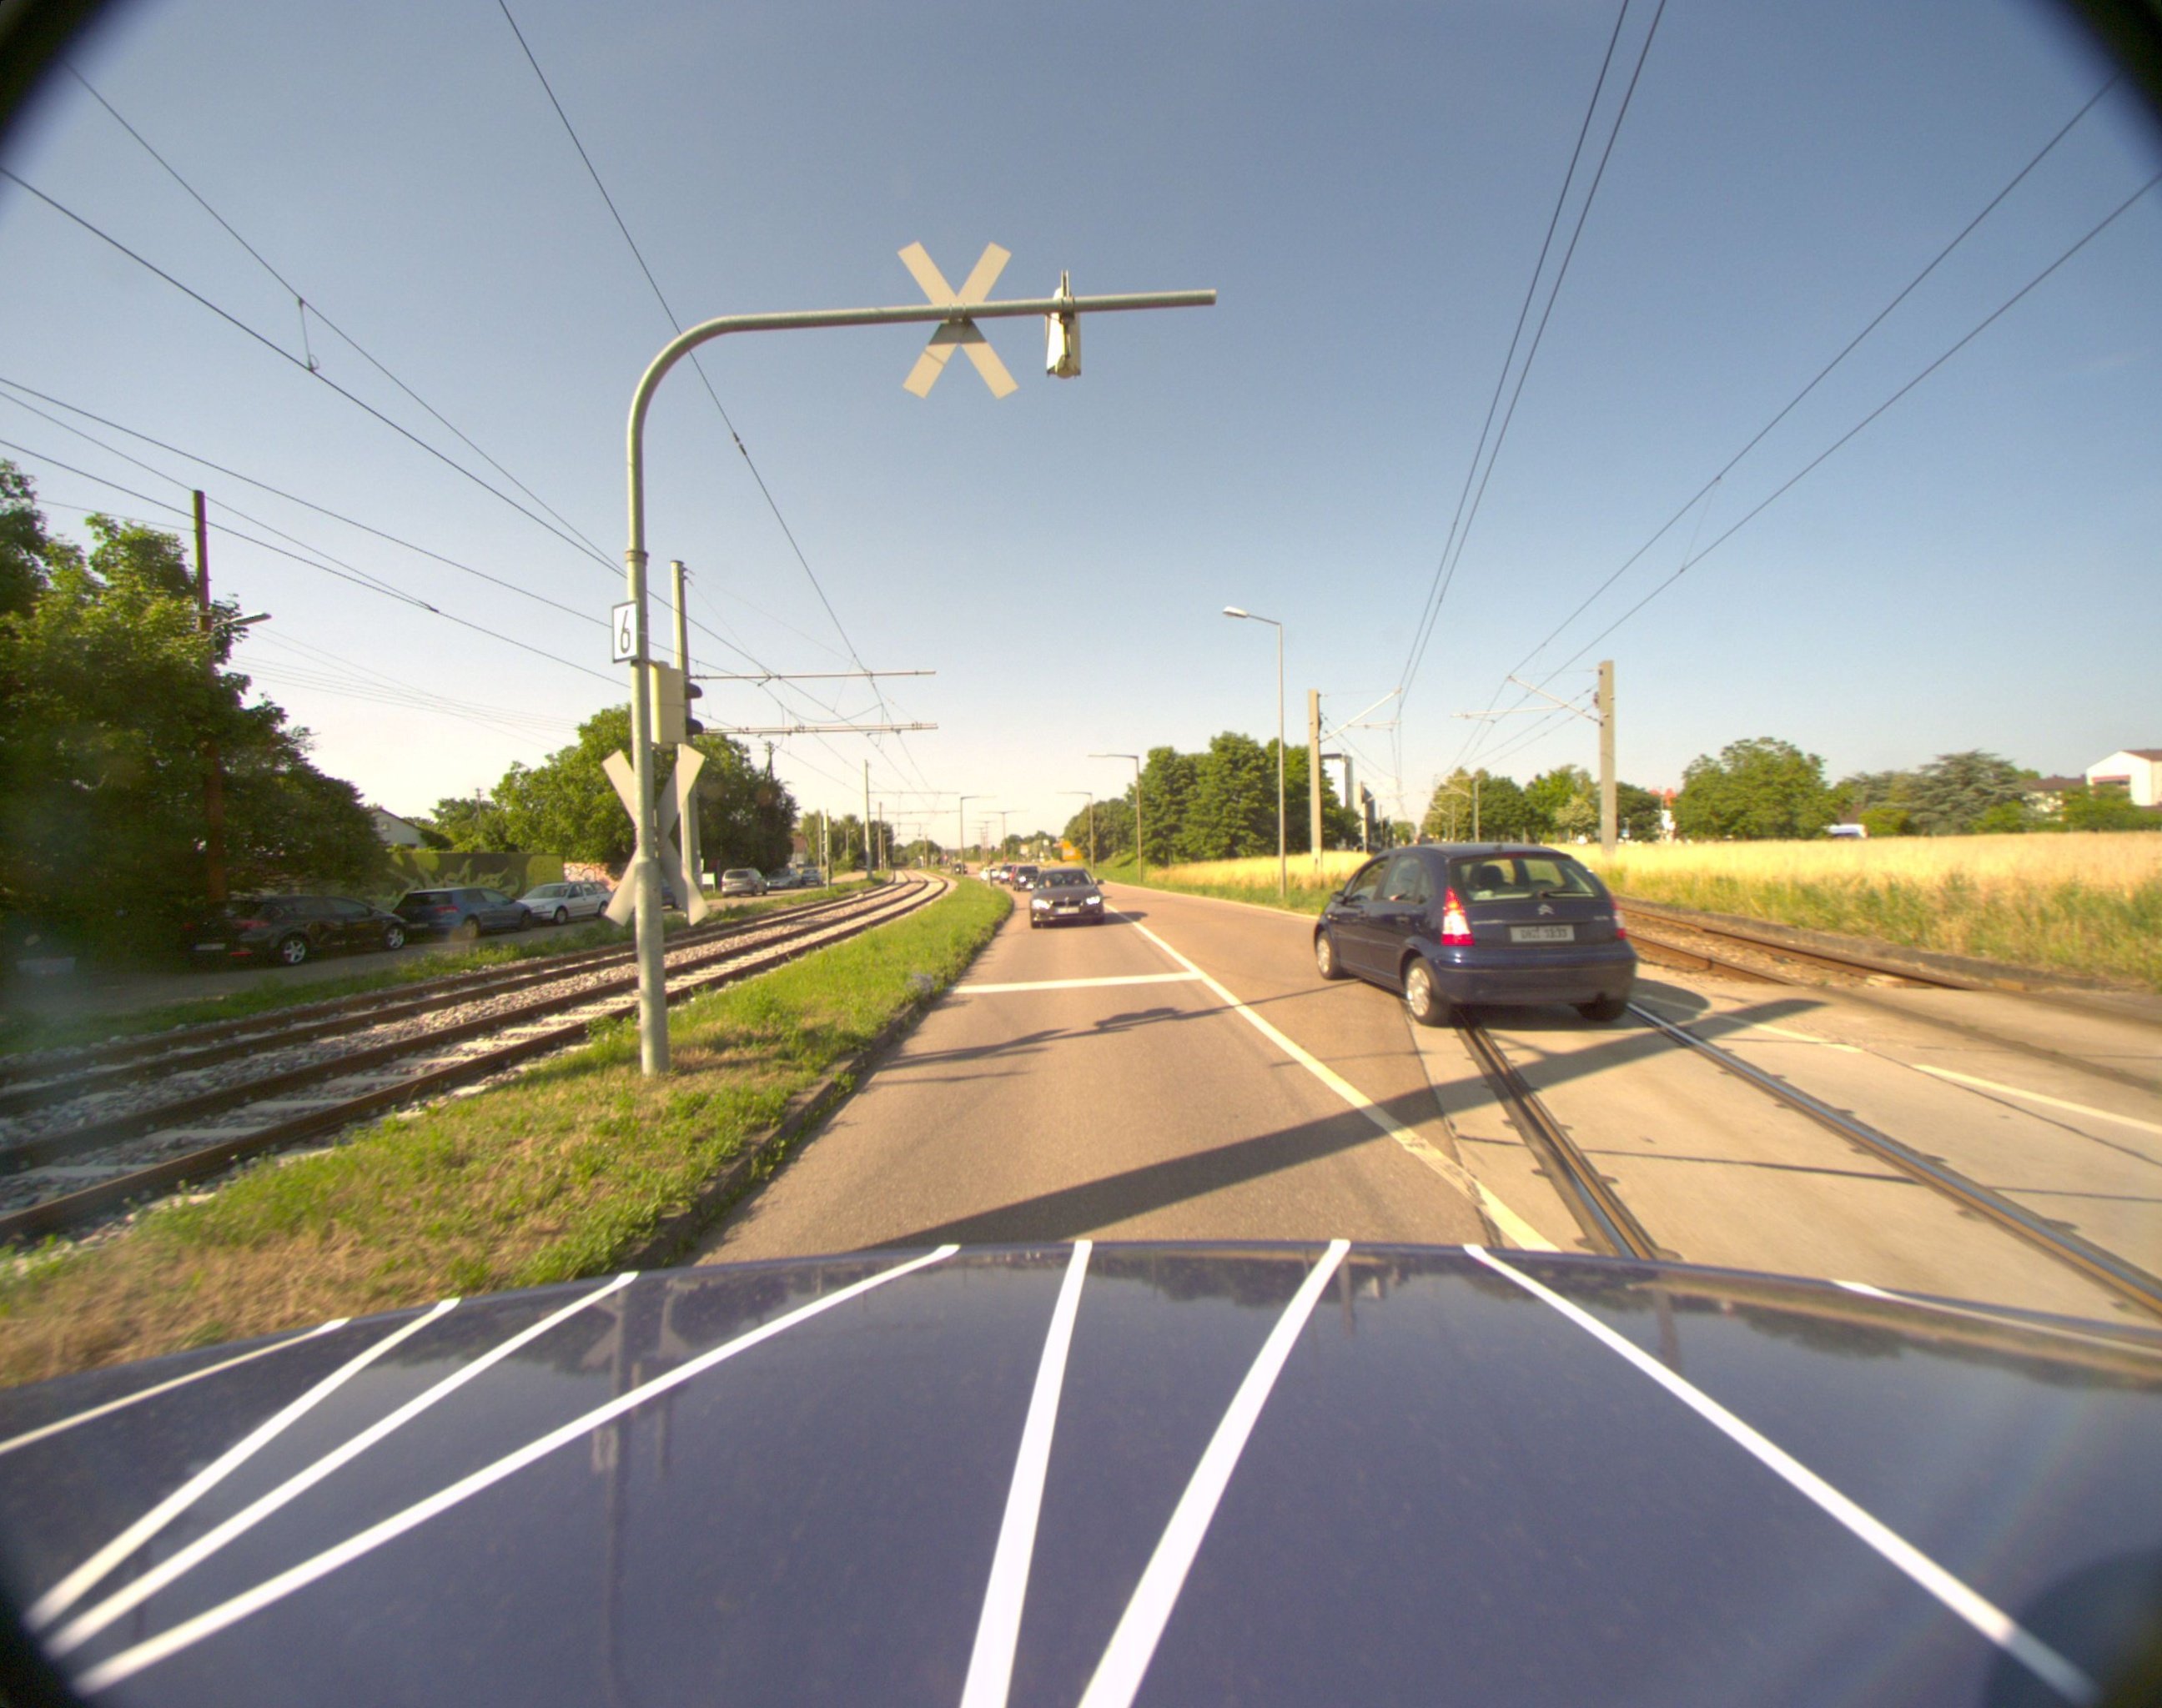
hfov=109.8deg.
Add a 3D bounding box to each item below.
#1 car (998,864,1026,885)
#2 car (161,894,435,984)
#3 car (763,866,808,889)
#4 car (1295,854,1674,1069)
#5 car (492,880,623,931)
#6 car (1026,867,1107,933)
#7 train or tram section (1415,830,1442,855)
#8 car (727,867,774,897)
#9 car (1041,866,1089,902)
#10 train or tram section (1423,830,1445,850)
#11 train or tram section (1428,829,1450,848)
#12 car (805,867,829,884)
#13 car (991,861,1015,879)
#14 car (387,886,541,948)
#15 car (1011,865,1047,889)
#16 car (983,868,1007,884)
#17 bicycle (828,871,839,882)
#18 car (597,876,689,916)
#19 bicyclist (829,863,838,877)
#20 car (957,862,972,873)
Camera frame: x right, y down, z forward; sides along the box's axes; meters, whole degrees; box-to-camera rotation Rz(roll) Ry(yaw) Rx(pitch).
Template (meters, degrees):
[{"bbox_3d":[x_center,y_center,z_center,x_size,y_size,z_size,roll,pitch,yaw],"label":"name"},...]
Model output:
[{"bbox_3d":[-5.589,1.635,61.242,1.849,1.587,3.735,-4,0,-11],"label":"car"},{"bbox_3d":[-16.957,1.754,16.861,1.627,1.402,4.519,-3,0,-6],"label":"car"},{"bbox_3d":[-21.801,1.712,56.305,1.913,1.581,4.725,-1,0,-6],"label":"car"},{"bbox_3d":[3.496,0.785,7.514,1.628,1.485,4.000,-1,1,0],"label":"car"},{"bbox_3d":[-18.171,1.737,26.644,1.714,1.456,4.389,-2,0,-3],"label":"car"},{"bbox_3d":[-0.475,1.097,19.686,1.748,1.444,3.945,-3,0,-5],"label":"car"},{"bbox_3d":[59.497,-2.075,129.915,2.909,3.548,14.281,-3,2,29],"label":"train or tram section"},{"bbox_3d":[-19.337,1.620,44.577,1.527,1.601,4.480,-1,0,-11],"label":"car"},{"bbox_3d":[-0.809,1.315,34.479,1.711,1.444,4.588,-3,-1,-6],"label":"car"},{"bbox_3d":[65.809,-2.669,141.481,2.919,3.434,12.185,-3,1,29],"label":"train or tram section"},{"bbox_3d":[71.734,-3.136,152.093,2.952,3.464,12.186,-3,0,29],"label":"train or tram section"},{"bbox_3d":[-23.688,1.885,68.263,1.539,1.439,4.127,-1,0,-12],"label":"car"},{"bbox_3d":[-7.020,1.405,68.358,1.609,1.504,4.264,-4,0,-12],"label":"car"},{"bbox_3d":[-17.436,1.727,21.748,1.489,1.393,4.147,-2,0,-9],"label":"car"},{"bbox_3d":[-3.424,1.436,49.108,1.849,1.347,4.151,-3,0,-9],"label":"car"},{"bbox_3d":[-9.273,2.342,81.305,1.970,1.609,4.303,-2,0,-13],"label":"car"},{"bbox_3d":[-21.564,1.981,66.301,0.645,0.904,1.812,-3,0,-10],"label":"bicycle"},{"bbox_3d":[-18.670,1.753,32.611,1.682,1.421,3.911,-4,0,-2],"label":"car"},{"bbox_3d":[-21.589,1.402,66.304,0.641,1.226,0.790,-3,0,-10],"label":"bicyclist"},{"bbox_3d":[-17.374,2.037,113.226,1.839,1.504,4.149,-4,0,-13],"label":"car"}]
